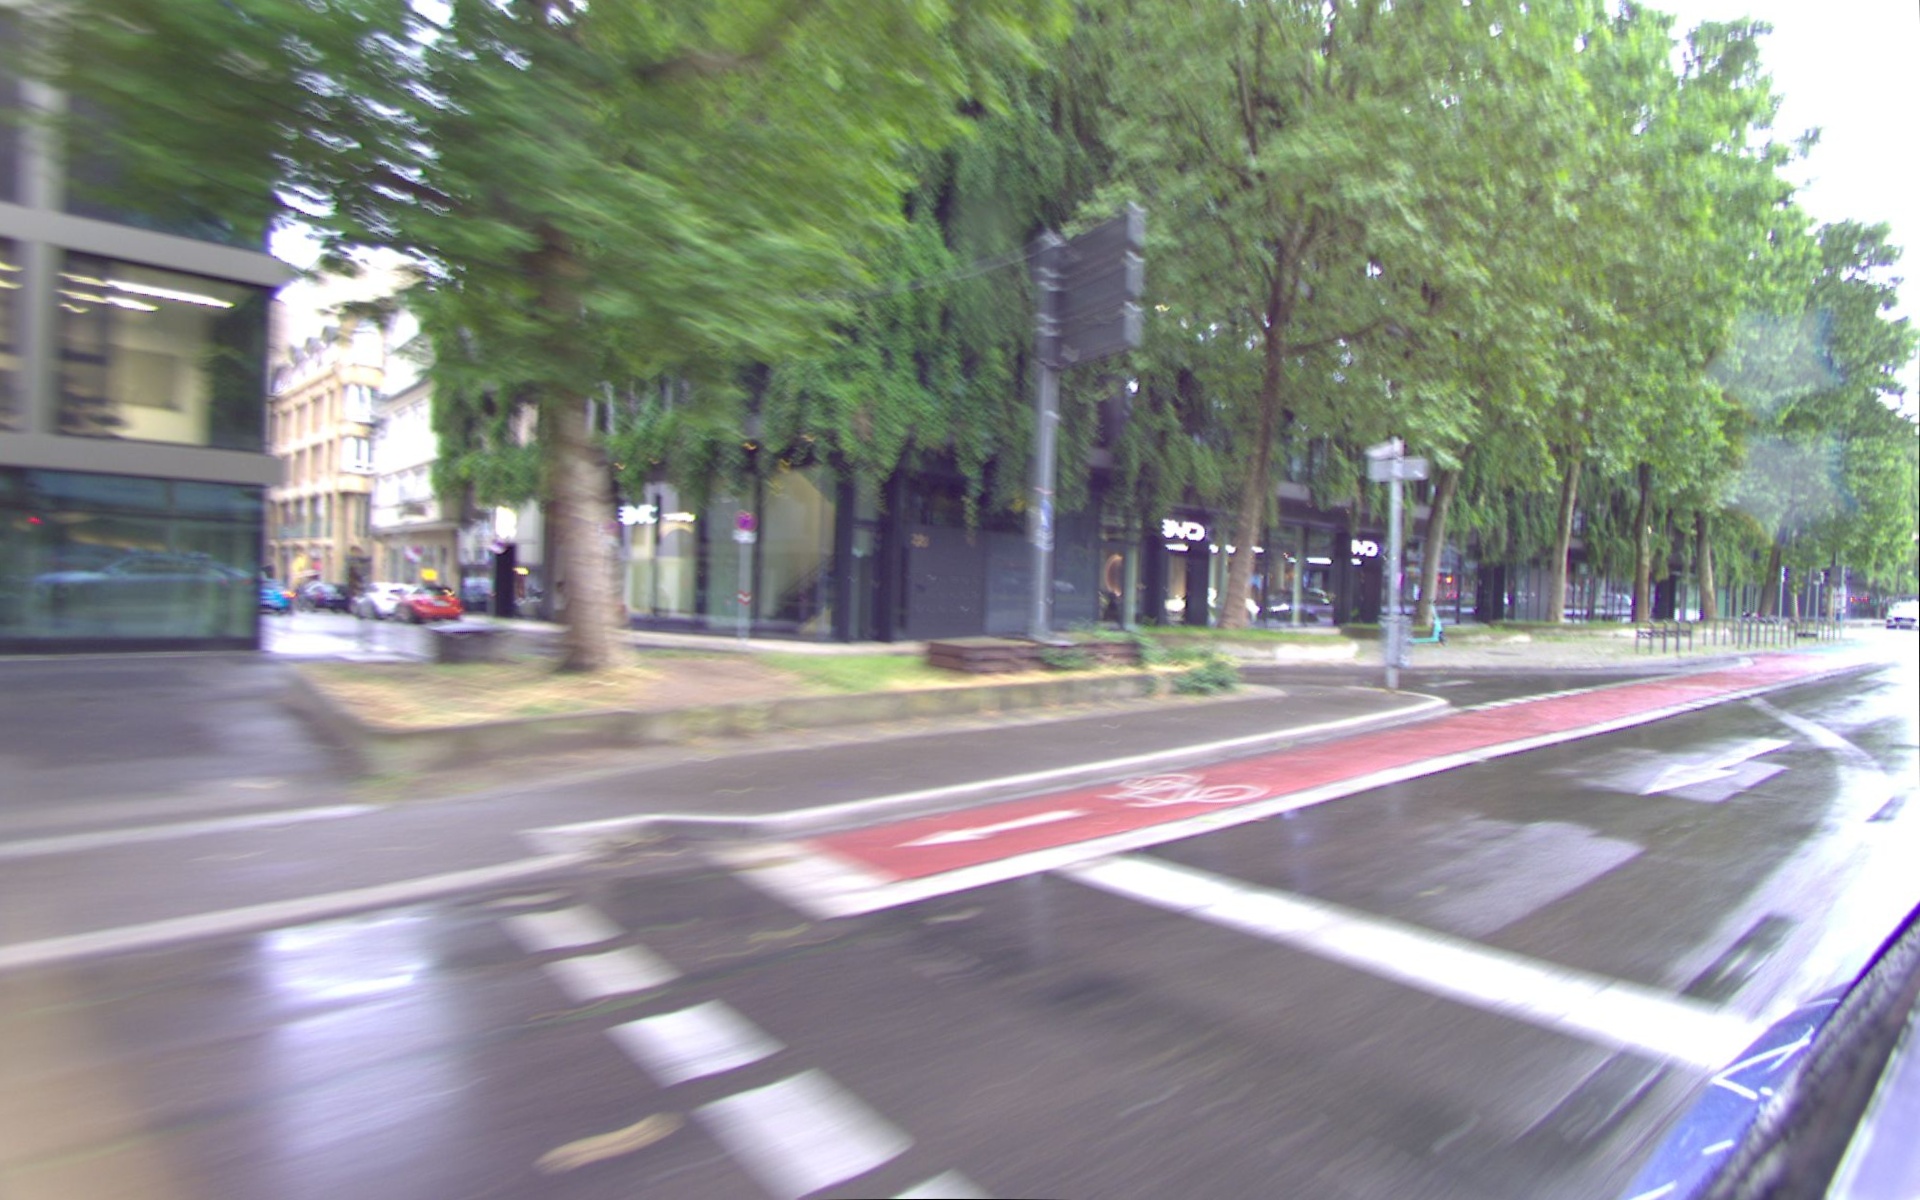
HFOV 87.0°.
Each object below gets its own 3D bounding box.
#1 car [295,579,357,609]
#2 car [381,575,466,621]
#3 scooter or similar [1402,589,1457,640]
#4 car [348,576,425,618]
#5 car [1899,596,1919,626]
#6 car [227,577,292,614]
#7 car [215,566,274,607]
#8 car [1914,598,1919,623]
[{"bbox_3d":[-30.605,-0.287,48.831,1.814,1.404,3.991,-1,0,-43],"label":"car"},{"bbox_3d":[-19.852,-0.064,37.366,1.814,1.609,3.991,-1,0,-43],"label":"car"},{"bbox_3d":[12.009,0.371,25.915,1.165,1.298,0.535,0,0,9],"label":"scooter or similar"},{"bbox_3d":[-22.990,-0.125,40.517,3.789,1.609,1.757,0,0,45],"label":"car"},{"bbox_3d":[59.998,0.680,62.969,4.520,1.758,1.930,-1,0,-42],"label":"car"},{"bbox_3d":[-30.004,-0.235,43.285,1.771,1.454,4.054,-1,2,-43],"label":"car"},{"bbox_3d":[-36.088,-0.688,50.994,1.893,1.970,4.954,-1,1,-42],"label":"car"},{"bbox_3d":[64.737,0.676,66.812,4.504,1.581,2.035,-1,0,-40],"label":"car"}]
